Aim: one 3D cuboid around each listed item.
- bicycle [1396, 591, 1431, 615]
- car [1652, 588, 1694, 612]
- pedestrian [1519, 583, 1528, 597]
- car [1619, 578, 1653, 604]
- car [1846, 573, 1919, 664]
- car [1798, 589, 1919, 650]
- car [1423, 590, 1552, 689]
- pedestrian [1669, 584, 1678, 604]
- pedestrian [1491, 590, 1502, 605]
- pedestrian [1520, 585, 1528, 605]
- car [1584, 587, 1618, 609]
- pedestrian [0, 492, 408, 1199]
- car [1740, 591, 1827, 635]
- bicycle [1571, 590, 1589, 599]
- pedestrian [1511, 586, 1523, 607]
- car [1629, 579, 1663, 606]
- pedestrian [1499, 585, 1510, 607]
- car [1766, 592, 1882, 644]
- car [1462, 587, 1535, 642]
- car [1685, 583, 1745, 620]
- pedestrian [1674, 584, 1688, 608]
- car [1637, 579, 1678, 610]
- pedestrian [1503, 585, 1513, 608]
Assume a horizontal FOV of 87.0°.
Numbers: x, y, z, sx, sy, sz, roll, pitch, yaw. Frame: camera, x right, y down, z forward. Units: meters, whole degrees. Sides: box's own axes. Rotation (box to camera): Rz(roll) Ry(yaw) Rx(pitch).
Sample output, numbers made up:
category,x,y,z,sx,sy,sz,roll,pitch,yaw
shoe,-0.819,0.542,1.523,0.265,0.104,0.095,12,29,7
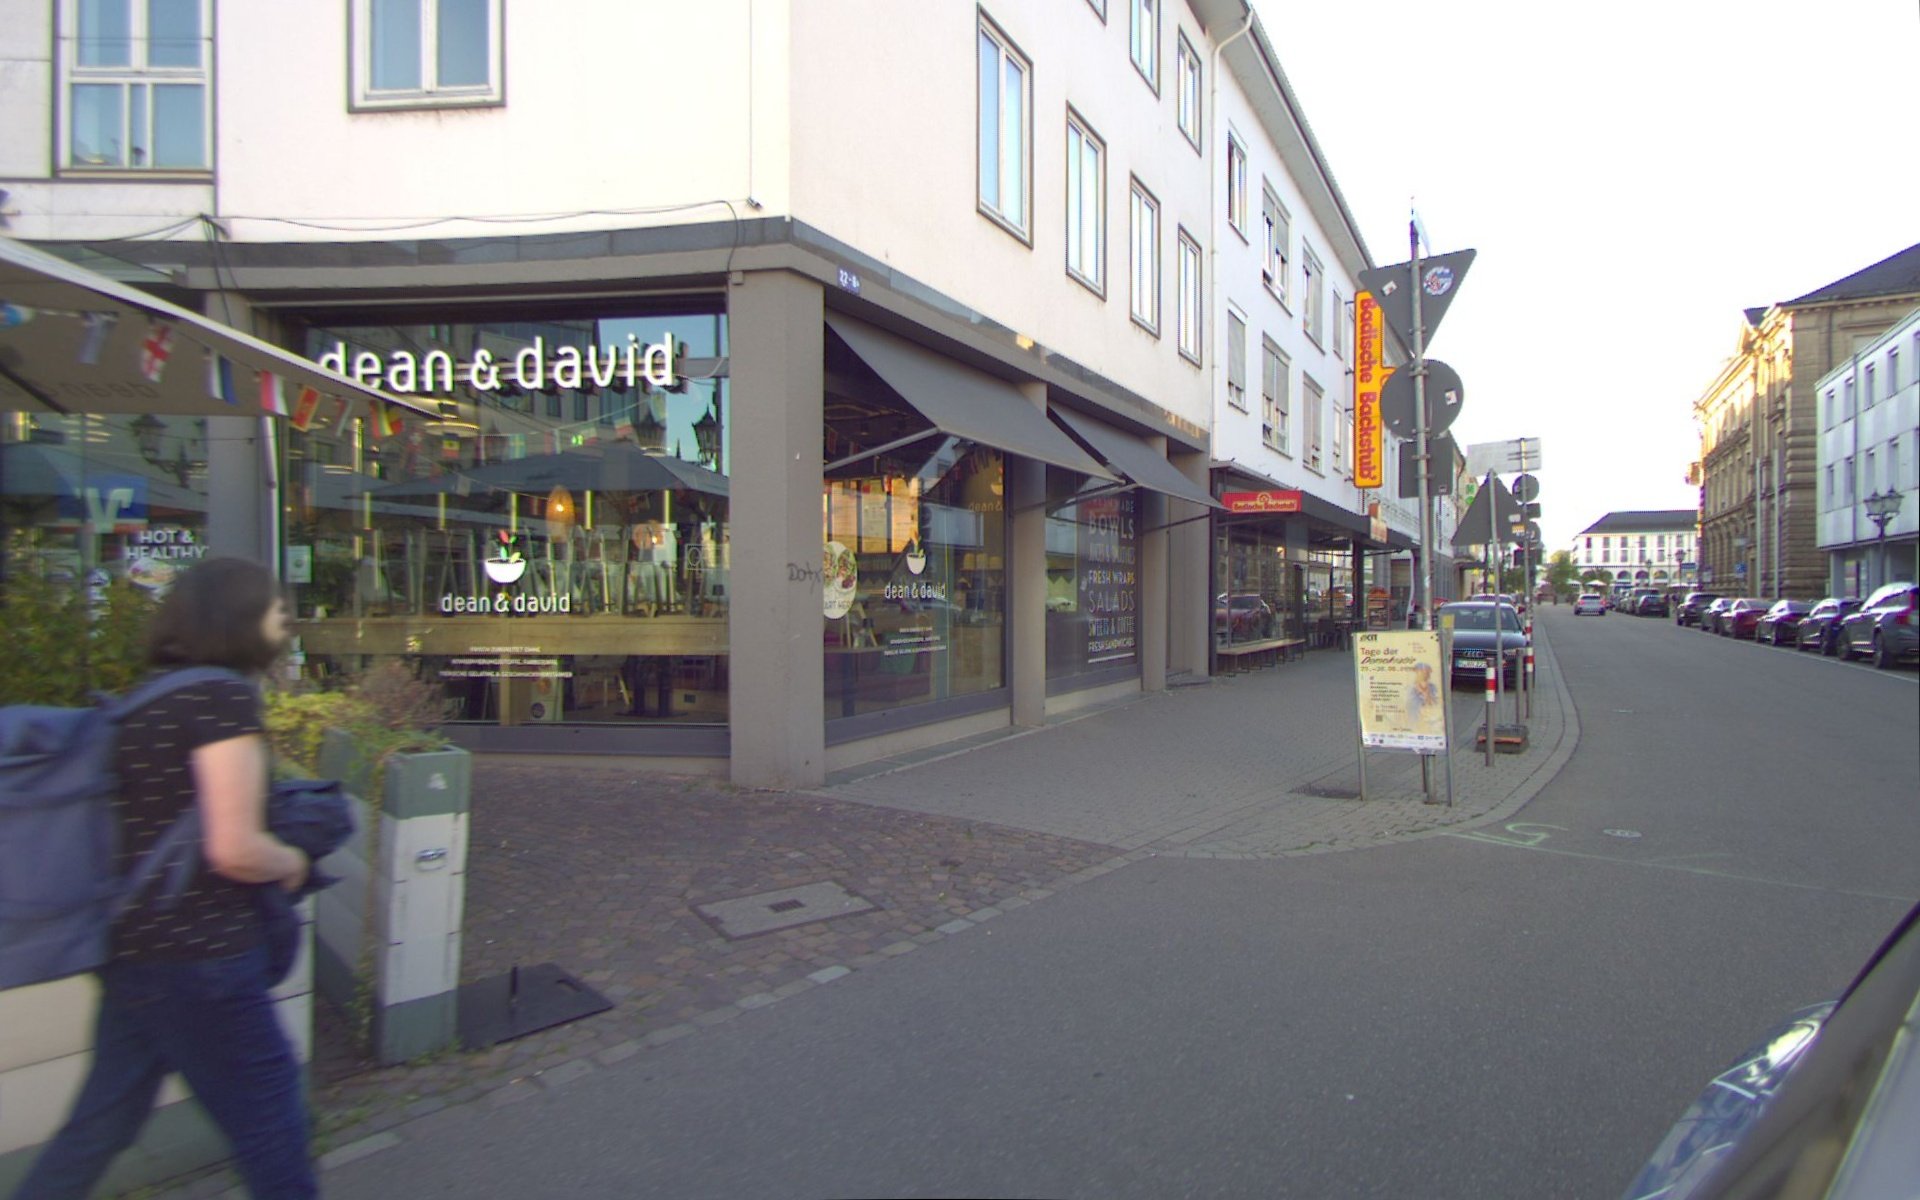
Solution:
category,x,y,z,sx,sy,sz,roll,pitch,yaw
bicycle,23.589,0.149,52.608,1.647,1.268,0.434,0,0,29
car,47.455,-0.039,67.434,1.984,1.513,4.119,1,1,31
pedestrian,69.096,-1.204,124.121,0.749,1.752,0.670,0,0,-16
car,59.603,-0.810,89.314,1.981,2.198,5.157,0,0,28
car,20.241,0.348,20.970,1.984,1.750,4.467,2,1,31
car,22.973,0.431,25.902,1.664,1.417,3.958,1,1,29
car,9.235,0.593,17.783,1.790,1.482,4.078,1,1,27
pedestrian,61.886,-0.509,87.761,0.604,1.752,0.695,0,0,32
pedestrian,48.521,-0.247,91.531,0.765,1.376,0.721,0,0,15
pedestrian,48.651,-0.426,87.269,0.604,1.752,0.552,0,0,32
car,44.968,-0.175,71.084,1.754,1.439,3.959,2,1,29
pedestrian,-1.679,0.653,2.102,0.686,1.668,0.688,0,0,30
car,28.501,0.404,35.130,1.776,1.426,4.043,0,1,31
bicycle,78.037,-0.677,127.366,0.827,1.136,1.691,0,0,-25
pedestrian,45.318,-0.298,82.404,0.746,1.752,0.869,0,0,37
car,56.452,-0.648,83.335,1.984,2.113,5.151,0,1,31
pedestrian,44.410,-0.337,82.481,0.710,1.752,0.863,0,0,33
car,26.056,0.485,30.671,1.984,1.371,3.957,2,2,31
car,16.042,0.382,30.070,1.751,1.542,3.637,0,1,31
car,34.571,0.042,46.410,1.776,1.635,4.119,0,1,31
pedestrian,55.095,-0.305,77.319,0.710,1.752,0.886,-3,-2,32
car,50.416,-0.413,73.257,1.983,2.103,4.939,0,2,30
pedestrian,44.025,-0.263,81.316,0.618,1.812,0.902,0,0,34
